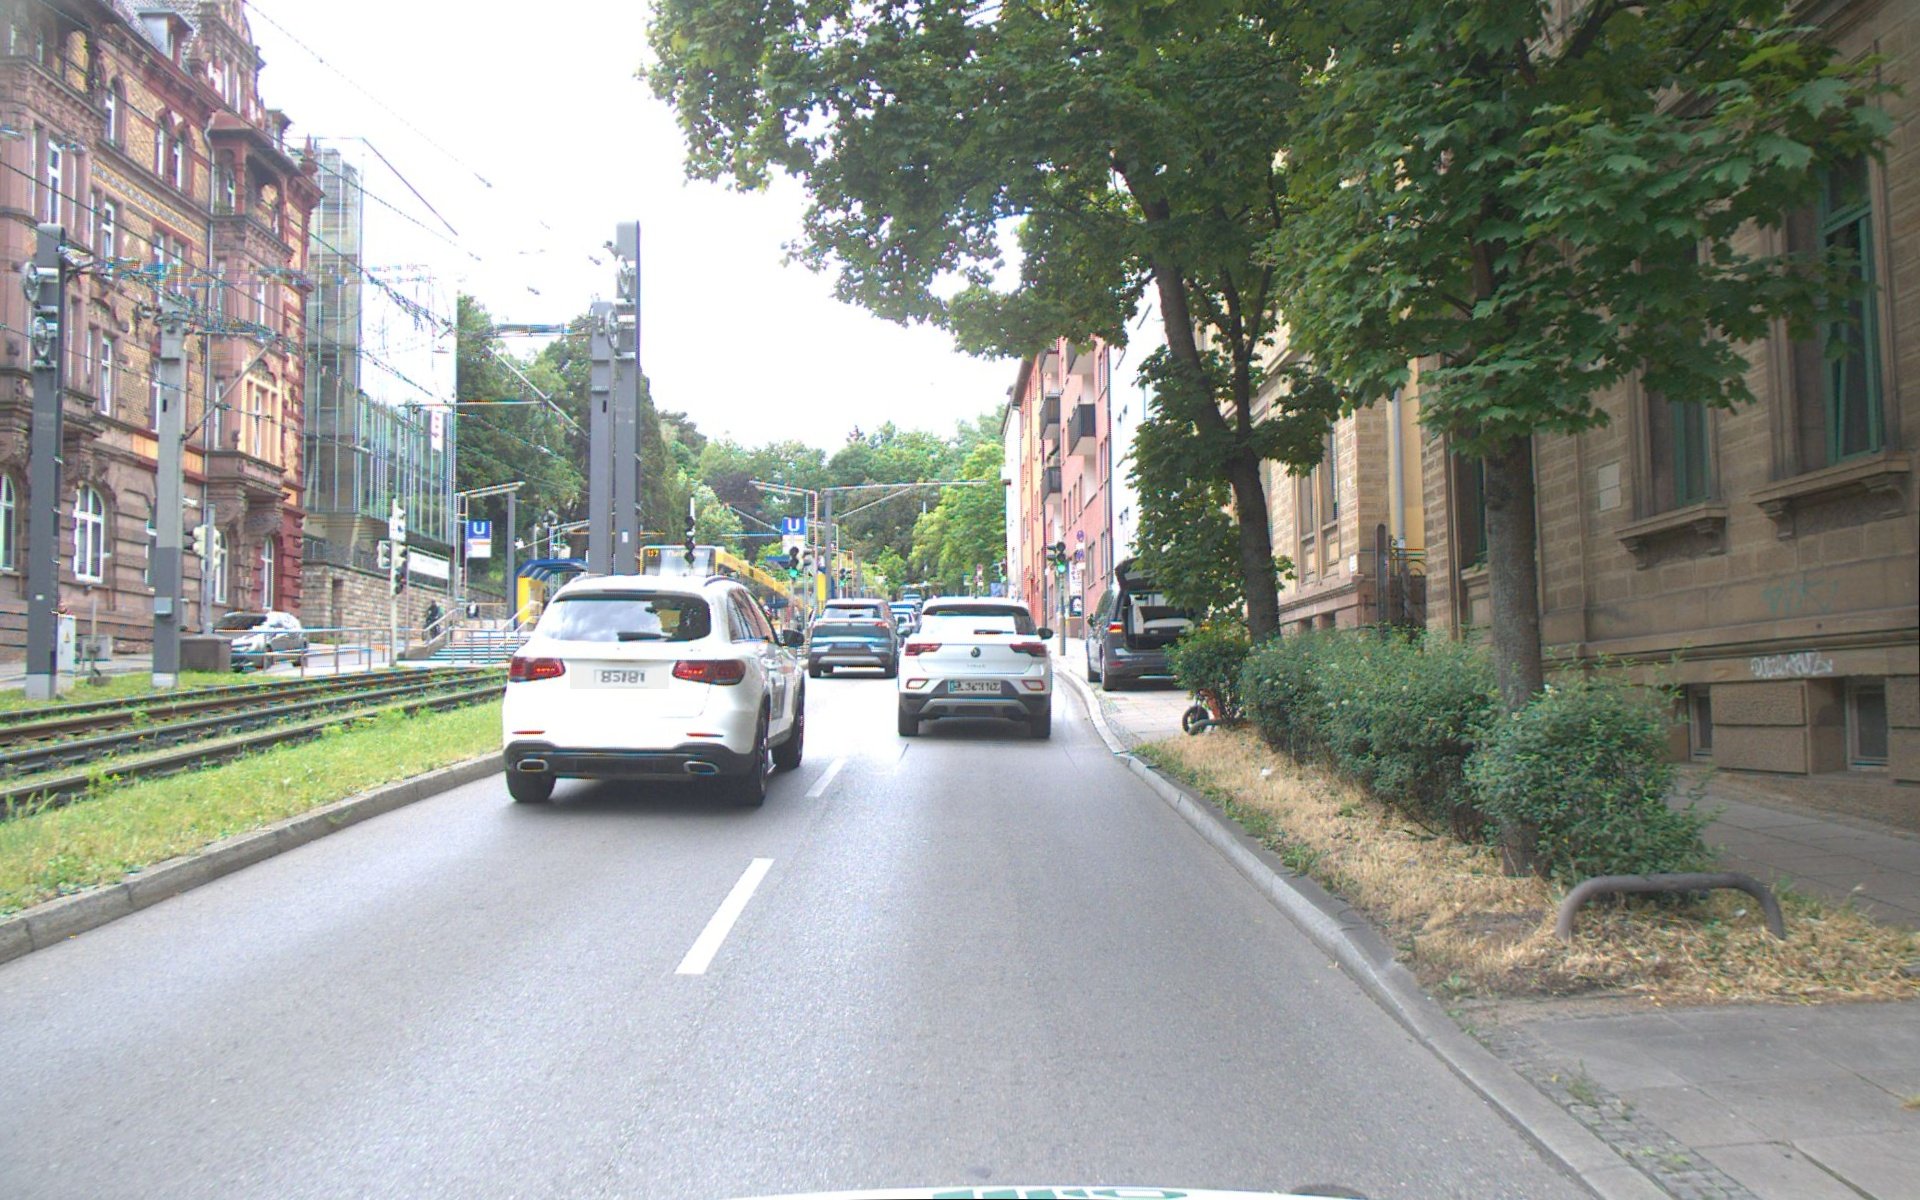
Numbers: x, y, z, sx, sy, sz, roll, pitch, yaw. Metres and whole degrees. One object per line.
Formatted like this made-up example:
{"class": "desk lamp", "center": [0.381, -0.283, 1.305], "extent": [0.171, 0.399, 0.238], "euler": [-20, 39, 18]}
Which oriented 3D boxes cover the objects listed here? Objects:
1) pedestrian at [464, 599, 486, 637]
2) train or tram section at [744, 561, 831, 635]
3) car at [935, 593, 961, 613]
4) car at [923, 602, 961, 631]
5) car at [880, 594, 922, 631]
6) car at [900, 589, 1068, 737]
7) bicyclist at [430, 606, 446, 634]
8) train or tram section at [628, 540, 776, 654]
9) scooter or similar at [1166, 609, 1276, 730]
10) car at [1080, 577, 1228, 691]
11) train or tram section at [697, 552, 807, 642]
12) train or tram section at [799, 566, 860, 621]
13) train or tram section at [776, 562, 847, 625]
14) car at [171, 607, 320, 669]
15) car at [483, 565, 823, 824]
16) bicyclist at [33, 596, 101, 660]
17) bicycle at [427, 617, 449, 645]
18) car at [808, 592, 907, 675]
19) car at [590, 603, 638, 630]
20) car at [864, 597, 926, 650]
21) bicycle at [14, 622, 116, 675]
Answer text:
{"class": "pedestrian", "center": [-22.895, 0.861, 78.134], "extent": [0.792, 1.786, 0.816], "euler": [0, 0, -1]}
{"class": "train or tram section", "center": [-8.539, -0.087, 83.532], "extent": [2.934, 3.407, 13.437], "euler": [-1, 0, 0]}
{"class": "car", "center": [-0.949, 0.250, 132.301], "extent": [2.026, 1.573, 4.193], "euler": [1, 0, -1]}
{"class": "car", "center": [-1.020, 0.892, 93.369], "extent": [2.026, 1.573, 4.193], "euler": [1, 0, -1]}
{"class": "car", "center": [-2.648, 0.555, 75.028], "extent": [1.798, 1.573, 4.193], "euler": [1, 0, -1]}
{"class": "car", "center": [0.190, 0.683, 19.939], "extent": [1.799, 1.573, 4.192], "euler": [1, 0, -2]}
{"class": "bicyclist", "center": [-22.700, 0.858, 71.930], "extent": [0.508, 1.212, 0.655], "euler": [-1, 0, 0]}
{"class": "train or tram section", "center": [-8.500, -0.092, 56.470], "extent": [2.934, 3.407, 13.437], "euler": [-1, 0, 0]}
{"class": "scooter or similar", "center": [2.549, 0.681, 16.203], "extent": [1.015, 1.138, 0.331], "euler": [-2, 0, 5]}
{"class": "car", "center": [3.061, 0.515, 26.843], "extent": [1.798, 1.629, 4.193], "euler": [-2, 0, -1]}
{"class": "train or tram section", "center": [-8.563, -0.115, 70.021], "extent": [2.934, 3.407, 13.529], "euler": [-1, 0, 0]}
{"class": "train or tram section", "center": [-8.599, -0.411, 110.487], "extent": [2.934, 3.407, 13.437], "euler": [-1, 0, 0]}
{"class": "train or tram section", "center": [-8.569, -0.335, 97.044], "extent": [2.934, 3.407, 13.437], "euler": [-1, 0, 0]}
{"class": "car", "center": [-17.542, 0.902, 40.816], "extent": [1.953, 1.427, 4.000], "euler": [-1, 0, 0]}
{"class": "car", "center": [-2.238, 0.631, 13.360], "extent": [1.798, 1.696, 4.671], "euler": [1, 0, 1]}
{"class": "bicyclist", "center": [-20.517, 0.630, 38.009], "extent": [0.919, 1.450, 1.188], "euler": [-1, 0, -1]}
{"class": "bicycle", "center": [-22.695, 1.343, 71.920], "extent": [0.561, 1.163, 1.303], "euler": [-1, 0, 0]}
{"class": "car", "center": [-2.058, 0.655, 34.222], "extent": [1.798, 1.573, 4.193], "euler": [1, 0, -1]}
{"class": "car", "center": [-19.065, 0.903, 91.354], "extent": [1.793, 1.427, 4.000], "euler": [-1, 0, 0]}
{"class": "car", "center": [-2.012, 0.702, 51.926], "extent": [1.798, 1.573, 4.193], "euler": [1, 0, -1]}
{"class": "bicycle", "center": [-20.502, 1.099, 37.966], "extent": [0.919, 1.119, 2.702], "euler": [-1, 0, -1]}
